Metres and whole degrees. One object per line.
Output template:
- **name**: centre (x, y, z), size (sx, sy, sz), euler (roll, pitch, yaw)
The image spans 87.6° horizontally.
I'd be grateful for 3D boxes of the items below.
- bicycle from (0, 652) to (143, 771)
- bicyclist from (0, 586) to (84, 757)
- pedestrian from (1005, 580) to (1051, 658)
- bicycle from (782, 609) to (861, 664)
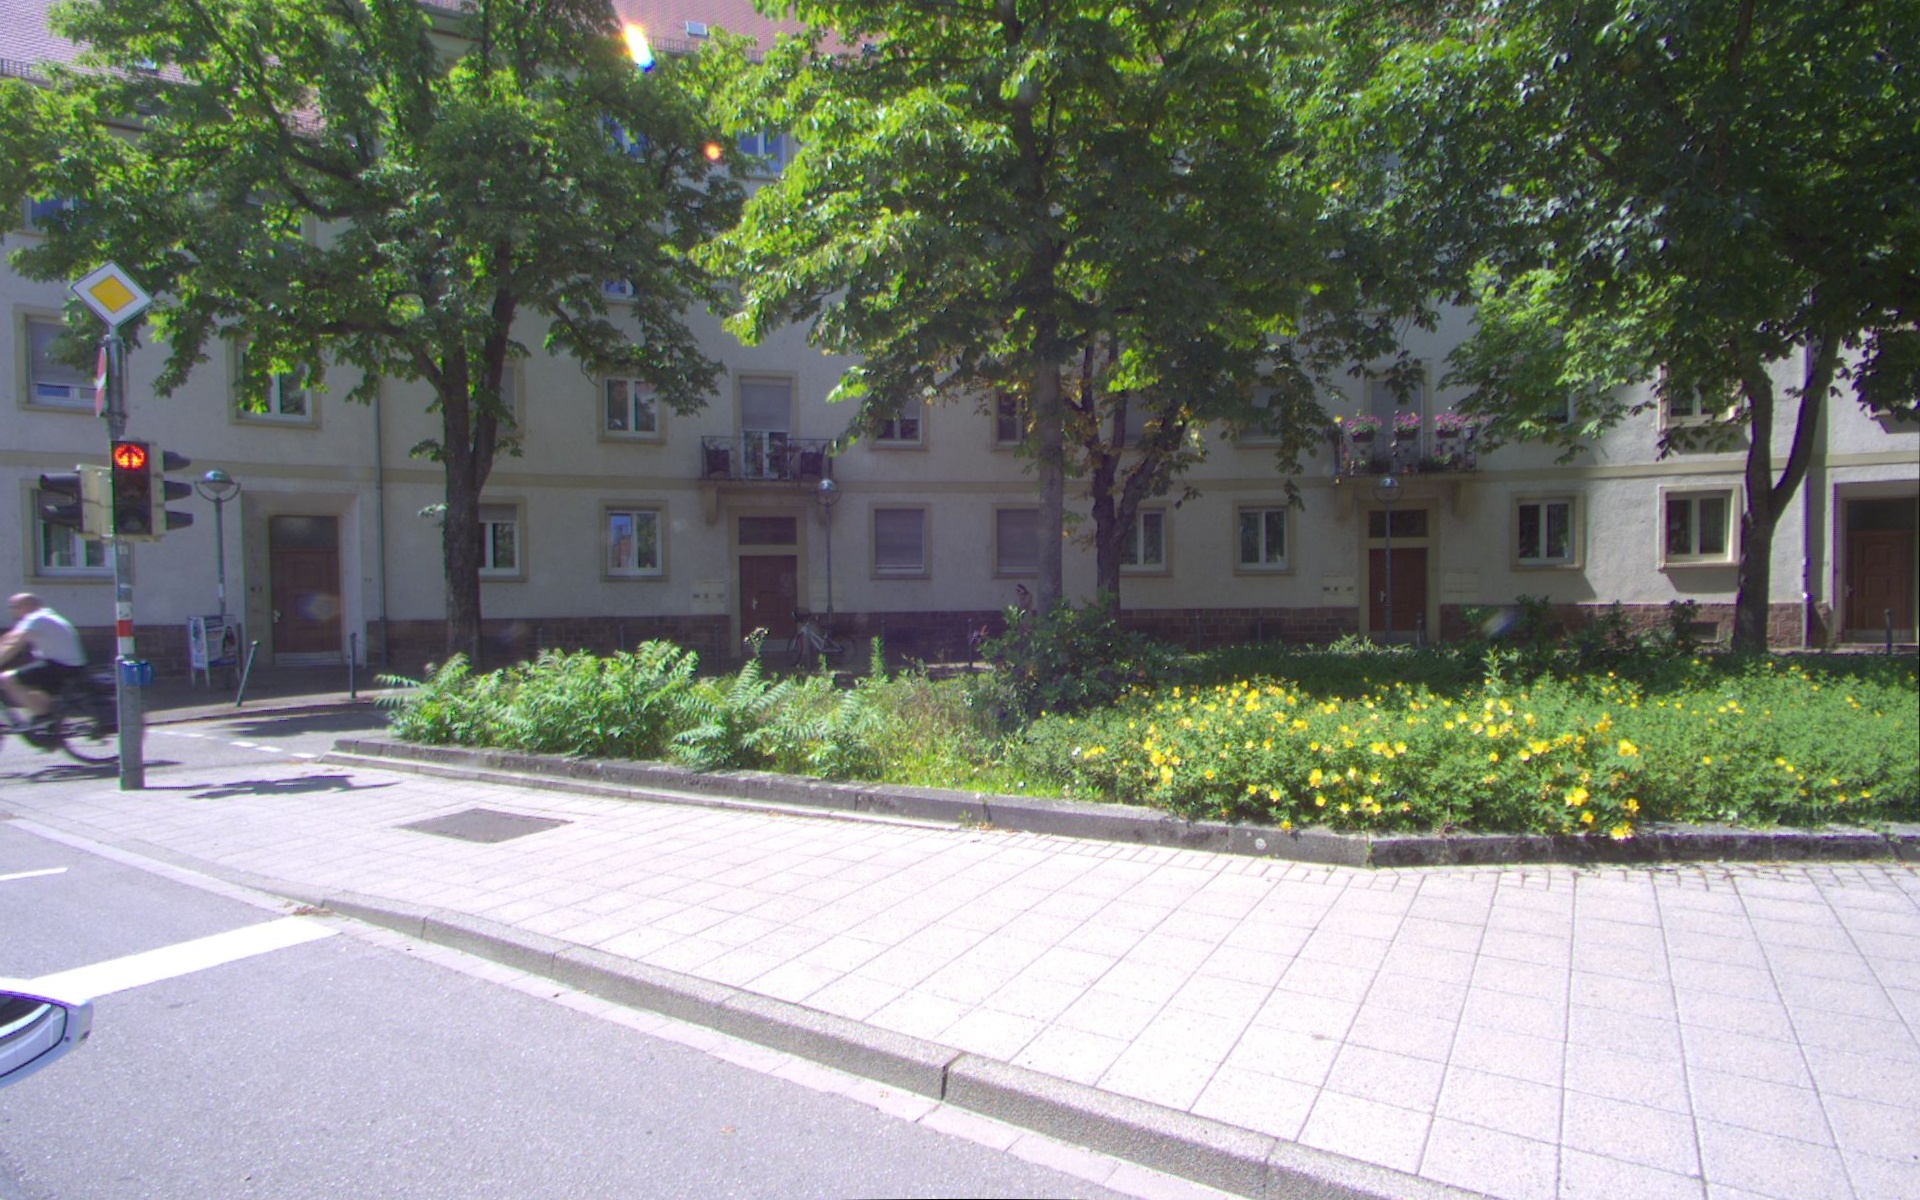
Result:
- **bicycle**: centre (-9.173, 1.085, 9.825), size (1.745, 1.070, 0.695), euler (0, 0, -38)
- **bicyclist**: centre (-9.191, 0.684, 9.816), size (0.839, 1.613, 0.695), euler (-1, 0, -37)
- **pedestrian**: centre (1.553, 0.425, 22.844), size (1.037, 1.715, 0.652), euler (0, 6, 4)
- **bicycle**: centre (-2.879, 0.756, 20.872), size (1.575, 1.119, 0.525), euler (-1, 1, -4)
